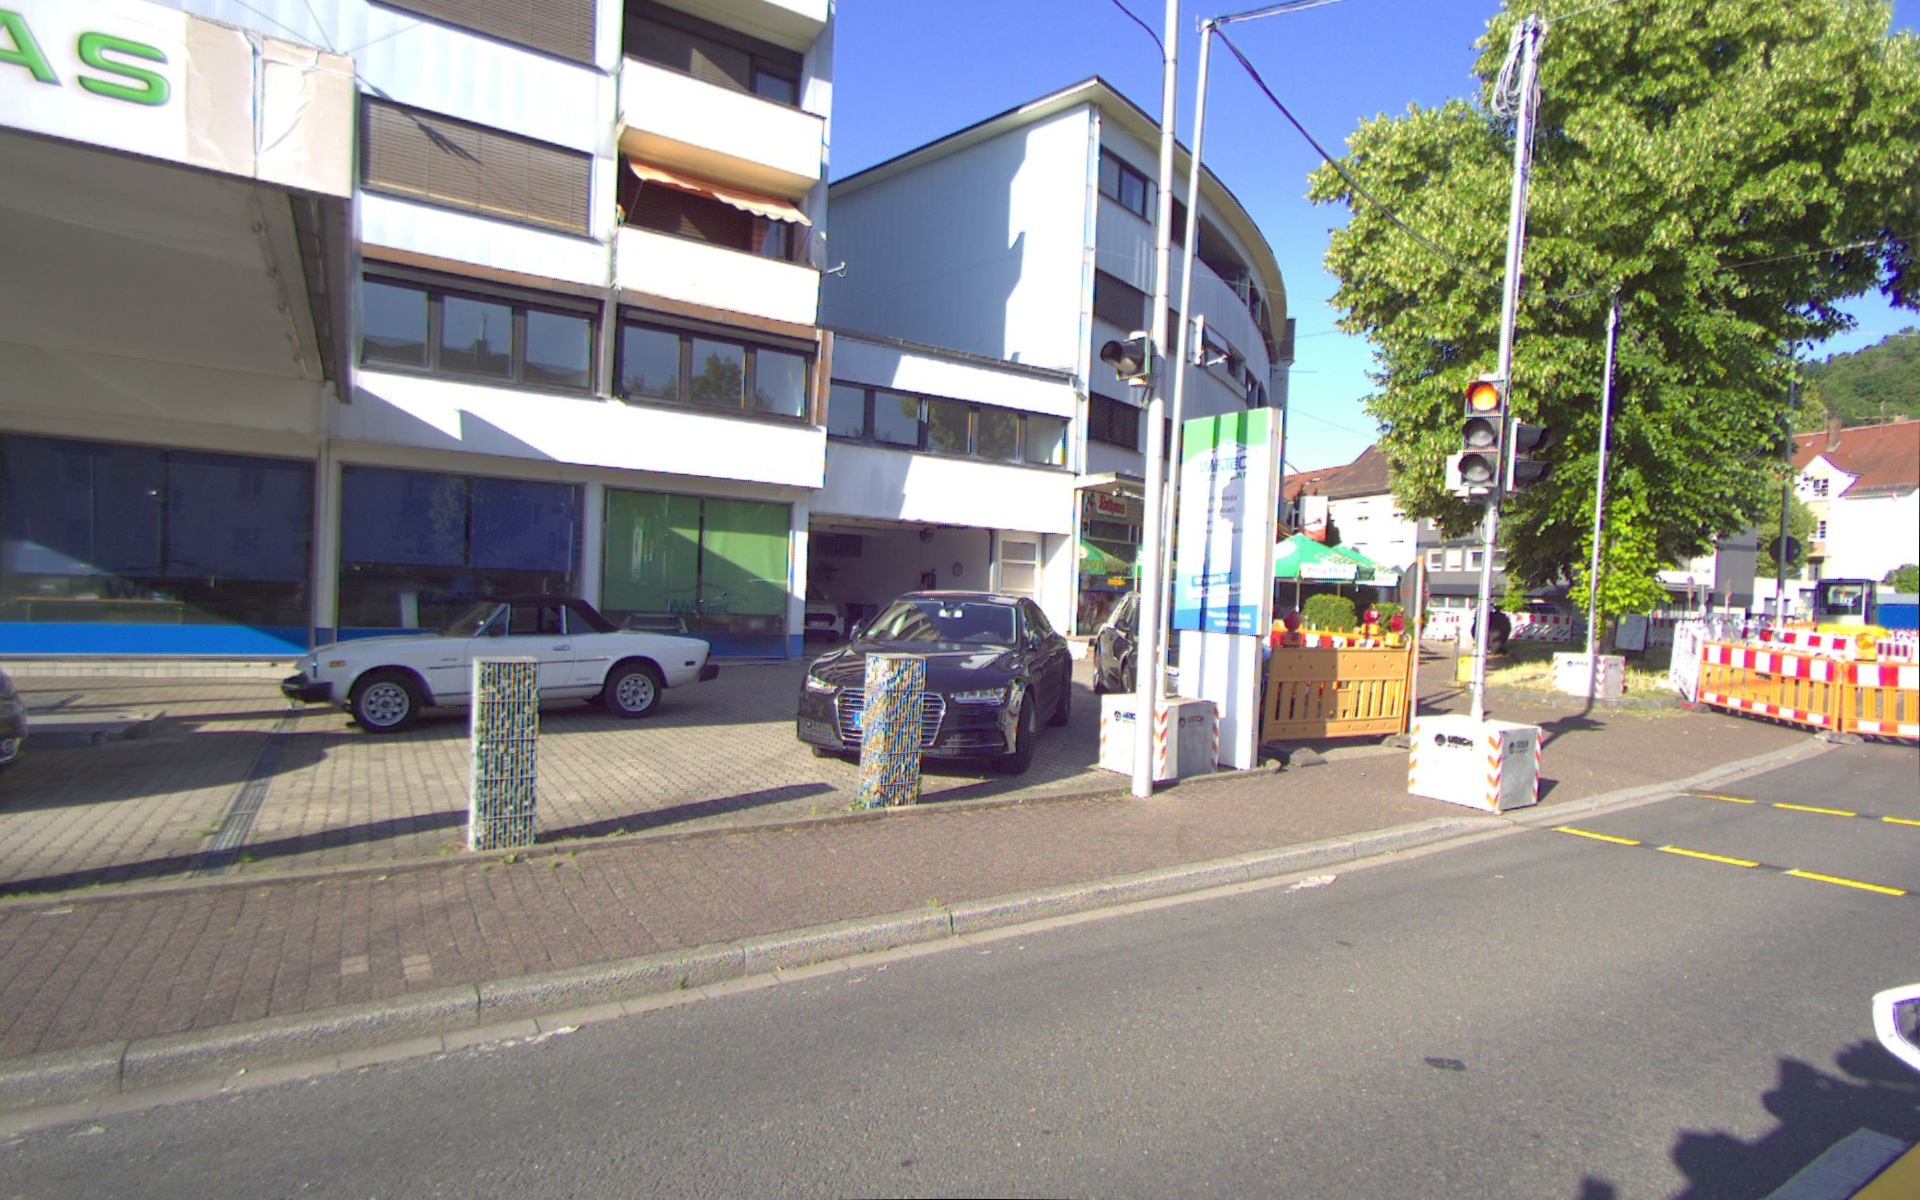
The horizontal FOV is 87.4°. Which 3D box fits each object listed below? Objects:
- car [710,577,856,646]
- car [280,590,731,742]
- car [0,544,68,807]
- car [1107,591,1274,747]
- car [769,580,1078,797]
[{"bbox_3d":[-4.332,0.237,24.159,1.980,1.486,3.961,1,0,-34],"label":"car"},{"bbox_3d":[-4.646,0.578,10.528,4.097,1.301,1.576,0,1,-35],"label":"car"},{"bbox_3d":[-7.488,0.393,5.858,3.325,1.589,1.623,2,1,8],"label":"car"},{"bbox_3d":[2.800,0.681,12.439,1.617,1.474,4.301,3,1,12],"label":"car"},{"bbox_3d":[-0.049,0.597,9.466,1.872,1.474,4.315,3,1,12],"label":"car"}]
